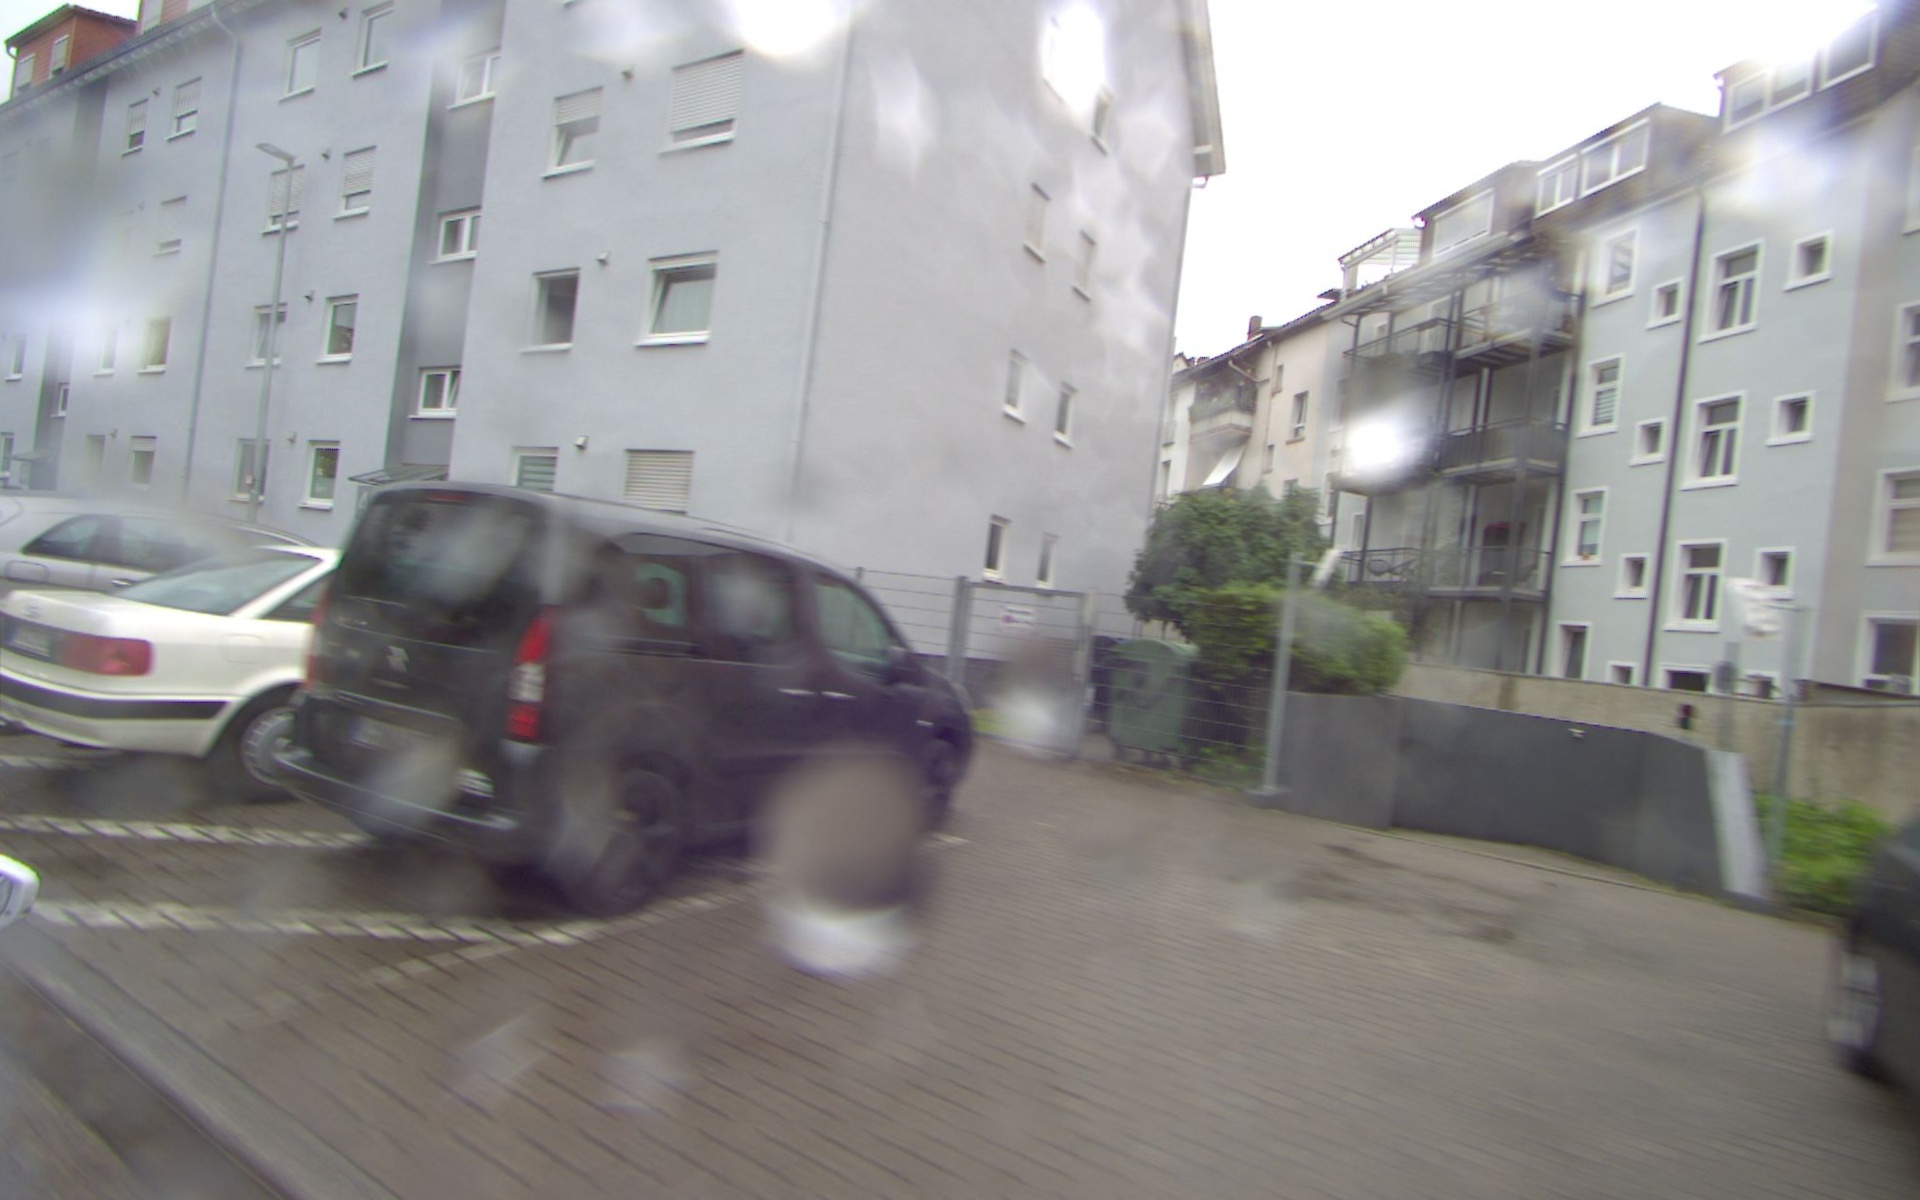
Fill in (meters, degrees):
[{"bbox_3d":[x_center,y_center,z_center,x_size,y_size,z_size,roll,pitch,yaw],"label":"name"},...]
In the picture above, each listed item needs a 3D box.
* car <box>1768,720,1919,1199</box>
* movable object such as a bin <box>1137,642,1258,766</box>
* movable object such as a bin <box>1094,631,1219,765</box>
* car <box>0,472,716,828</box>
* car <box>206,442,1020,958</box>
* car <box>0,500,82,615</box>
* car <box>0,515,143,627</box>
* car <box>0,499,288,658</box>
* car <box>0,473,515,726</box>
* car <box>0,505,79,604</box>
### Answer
[{"bbox_3d":[3.979,1.260,2.814,1.950,1.487,4.540,6,-2,31],"label":"car"},{"bbox_3d":[3.049,1.328,12.860,0.940,1.394,1.216,7,-1,39],"label":"movable object such as a bin"},{"bbox_3d":[2.318,1.149,11.771,0.810,1.394,1.235,7,-1,38],"label":"movable object such as a bin"},{"bbox_3d":[-3.894,0.335,6.808,1.857,1.586,4.199,6,-2,30],"label":"car"},{"bbox_3d":[-1.480,0.446,5.944,1.911,1.827,4.241,6,-1,28],"label":"car"},{"bbox_3d":[-14.657,-0.841,13.255,1.979,1.502,4.153,6,-3,31],"label":"car"},{"bbox_3d":[-12.525,-0.532,11.987,1.924,1.221,3.860,7,-2,33],"label":"car"},{"bbox_3d":[-10.024,-0.291,11.081,1.805,1.471,3.863,7,-2,29],"label":"car"},{"bbox_3d":[-6.104,0.078,8.096,1.858,1.589,4.192,6,-3,30],"label":"car"},{"bbox_3d":[-16.566,-0.988,15.067,1.968,1.452,4.636,6,-3,33],"label":"car"}]
